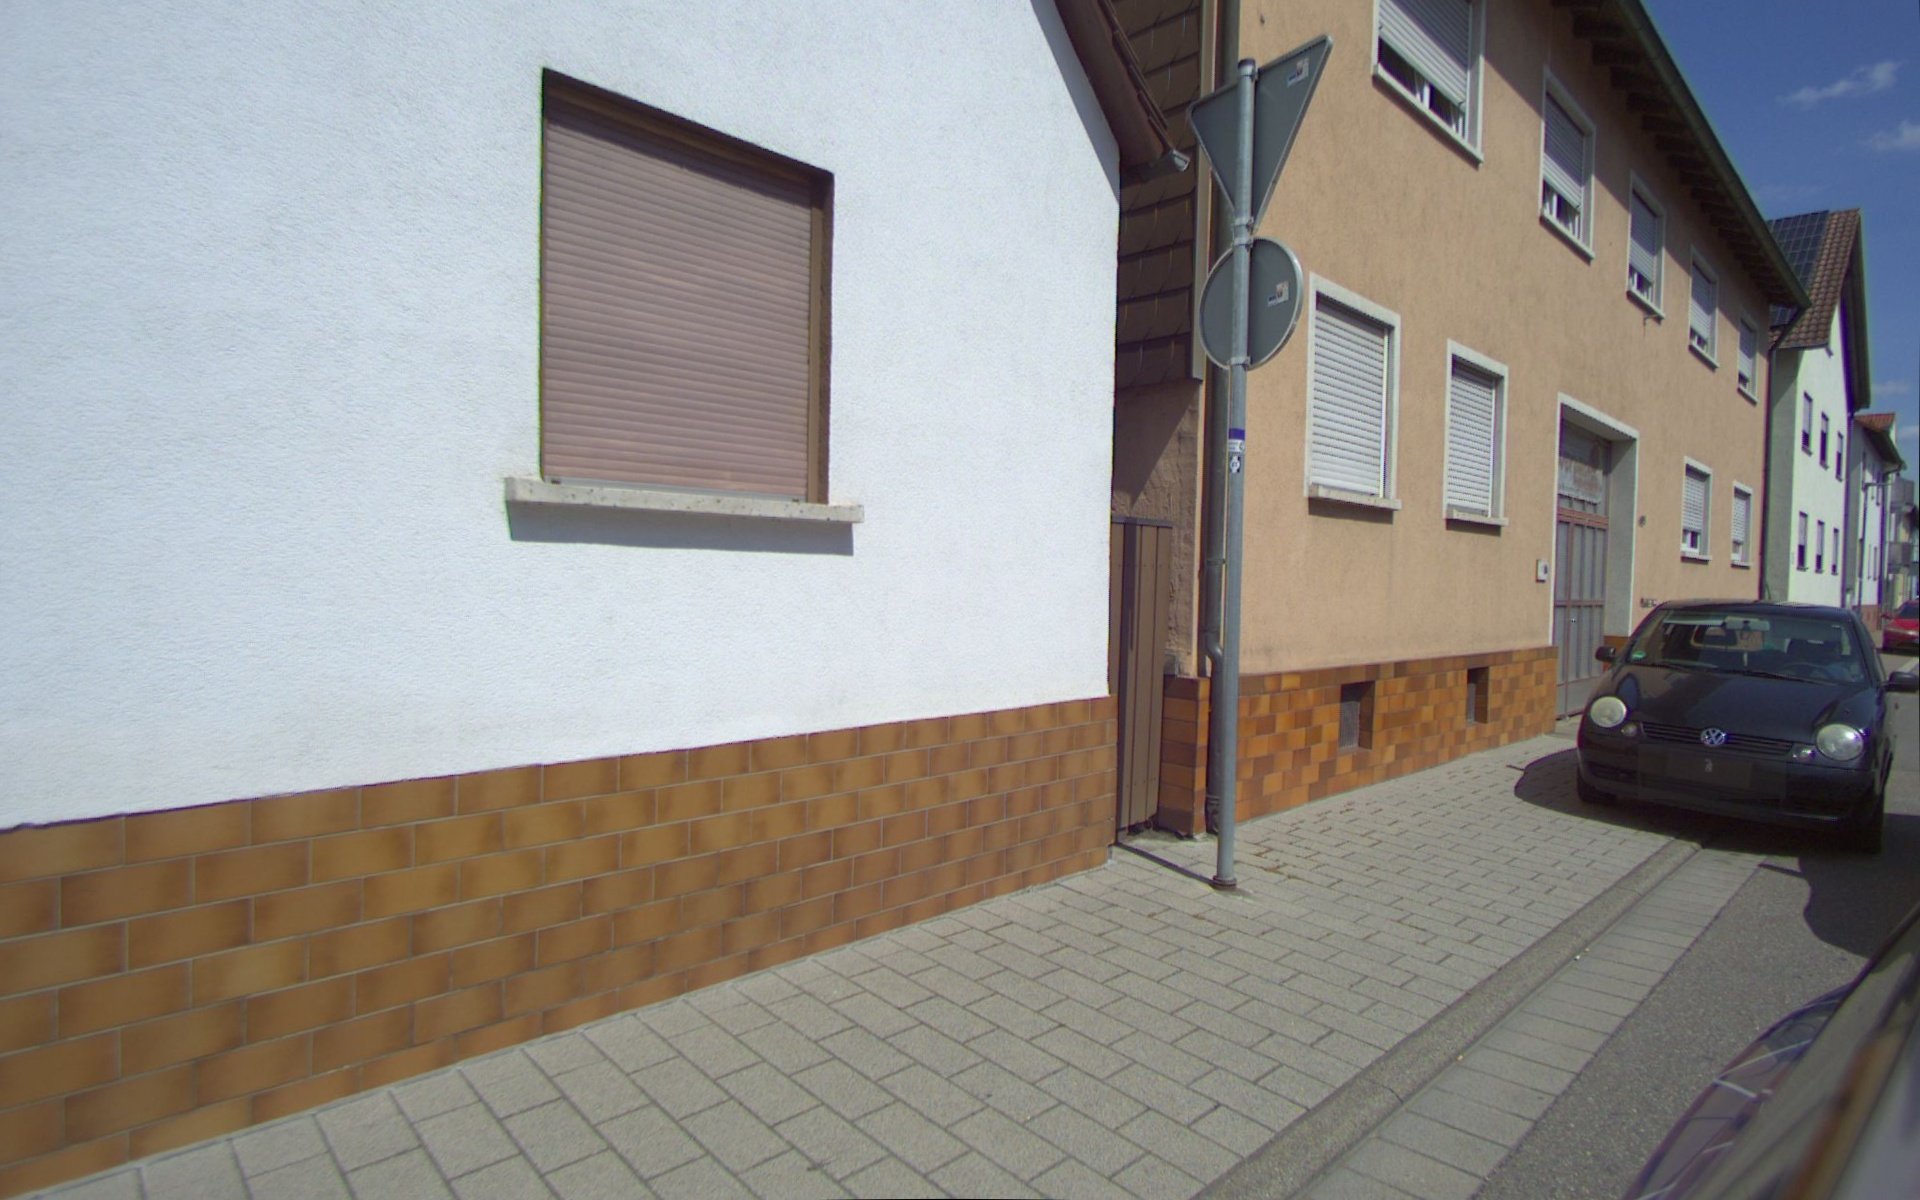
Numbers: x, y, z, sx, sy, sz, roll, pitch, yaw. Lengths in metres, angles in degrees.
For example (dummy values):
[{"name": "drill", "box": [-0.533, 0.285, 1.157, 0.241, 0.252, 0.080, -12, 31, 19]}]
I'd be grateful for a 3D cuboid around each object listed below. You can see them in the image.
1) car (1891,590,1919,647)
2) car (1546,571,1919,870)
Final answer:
[{"name": "car", "box": [26.173, 0.505, 26.970, 4.120, 1.446, 1.762, 0, 2, -45]}, {"name": "car", "box": [5.664, 0.621, 7.151, 3.570, 1.481, 1.688, 0, 4, -45]}]
